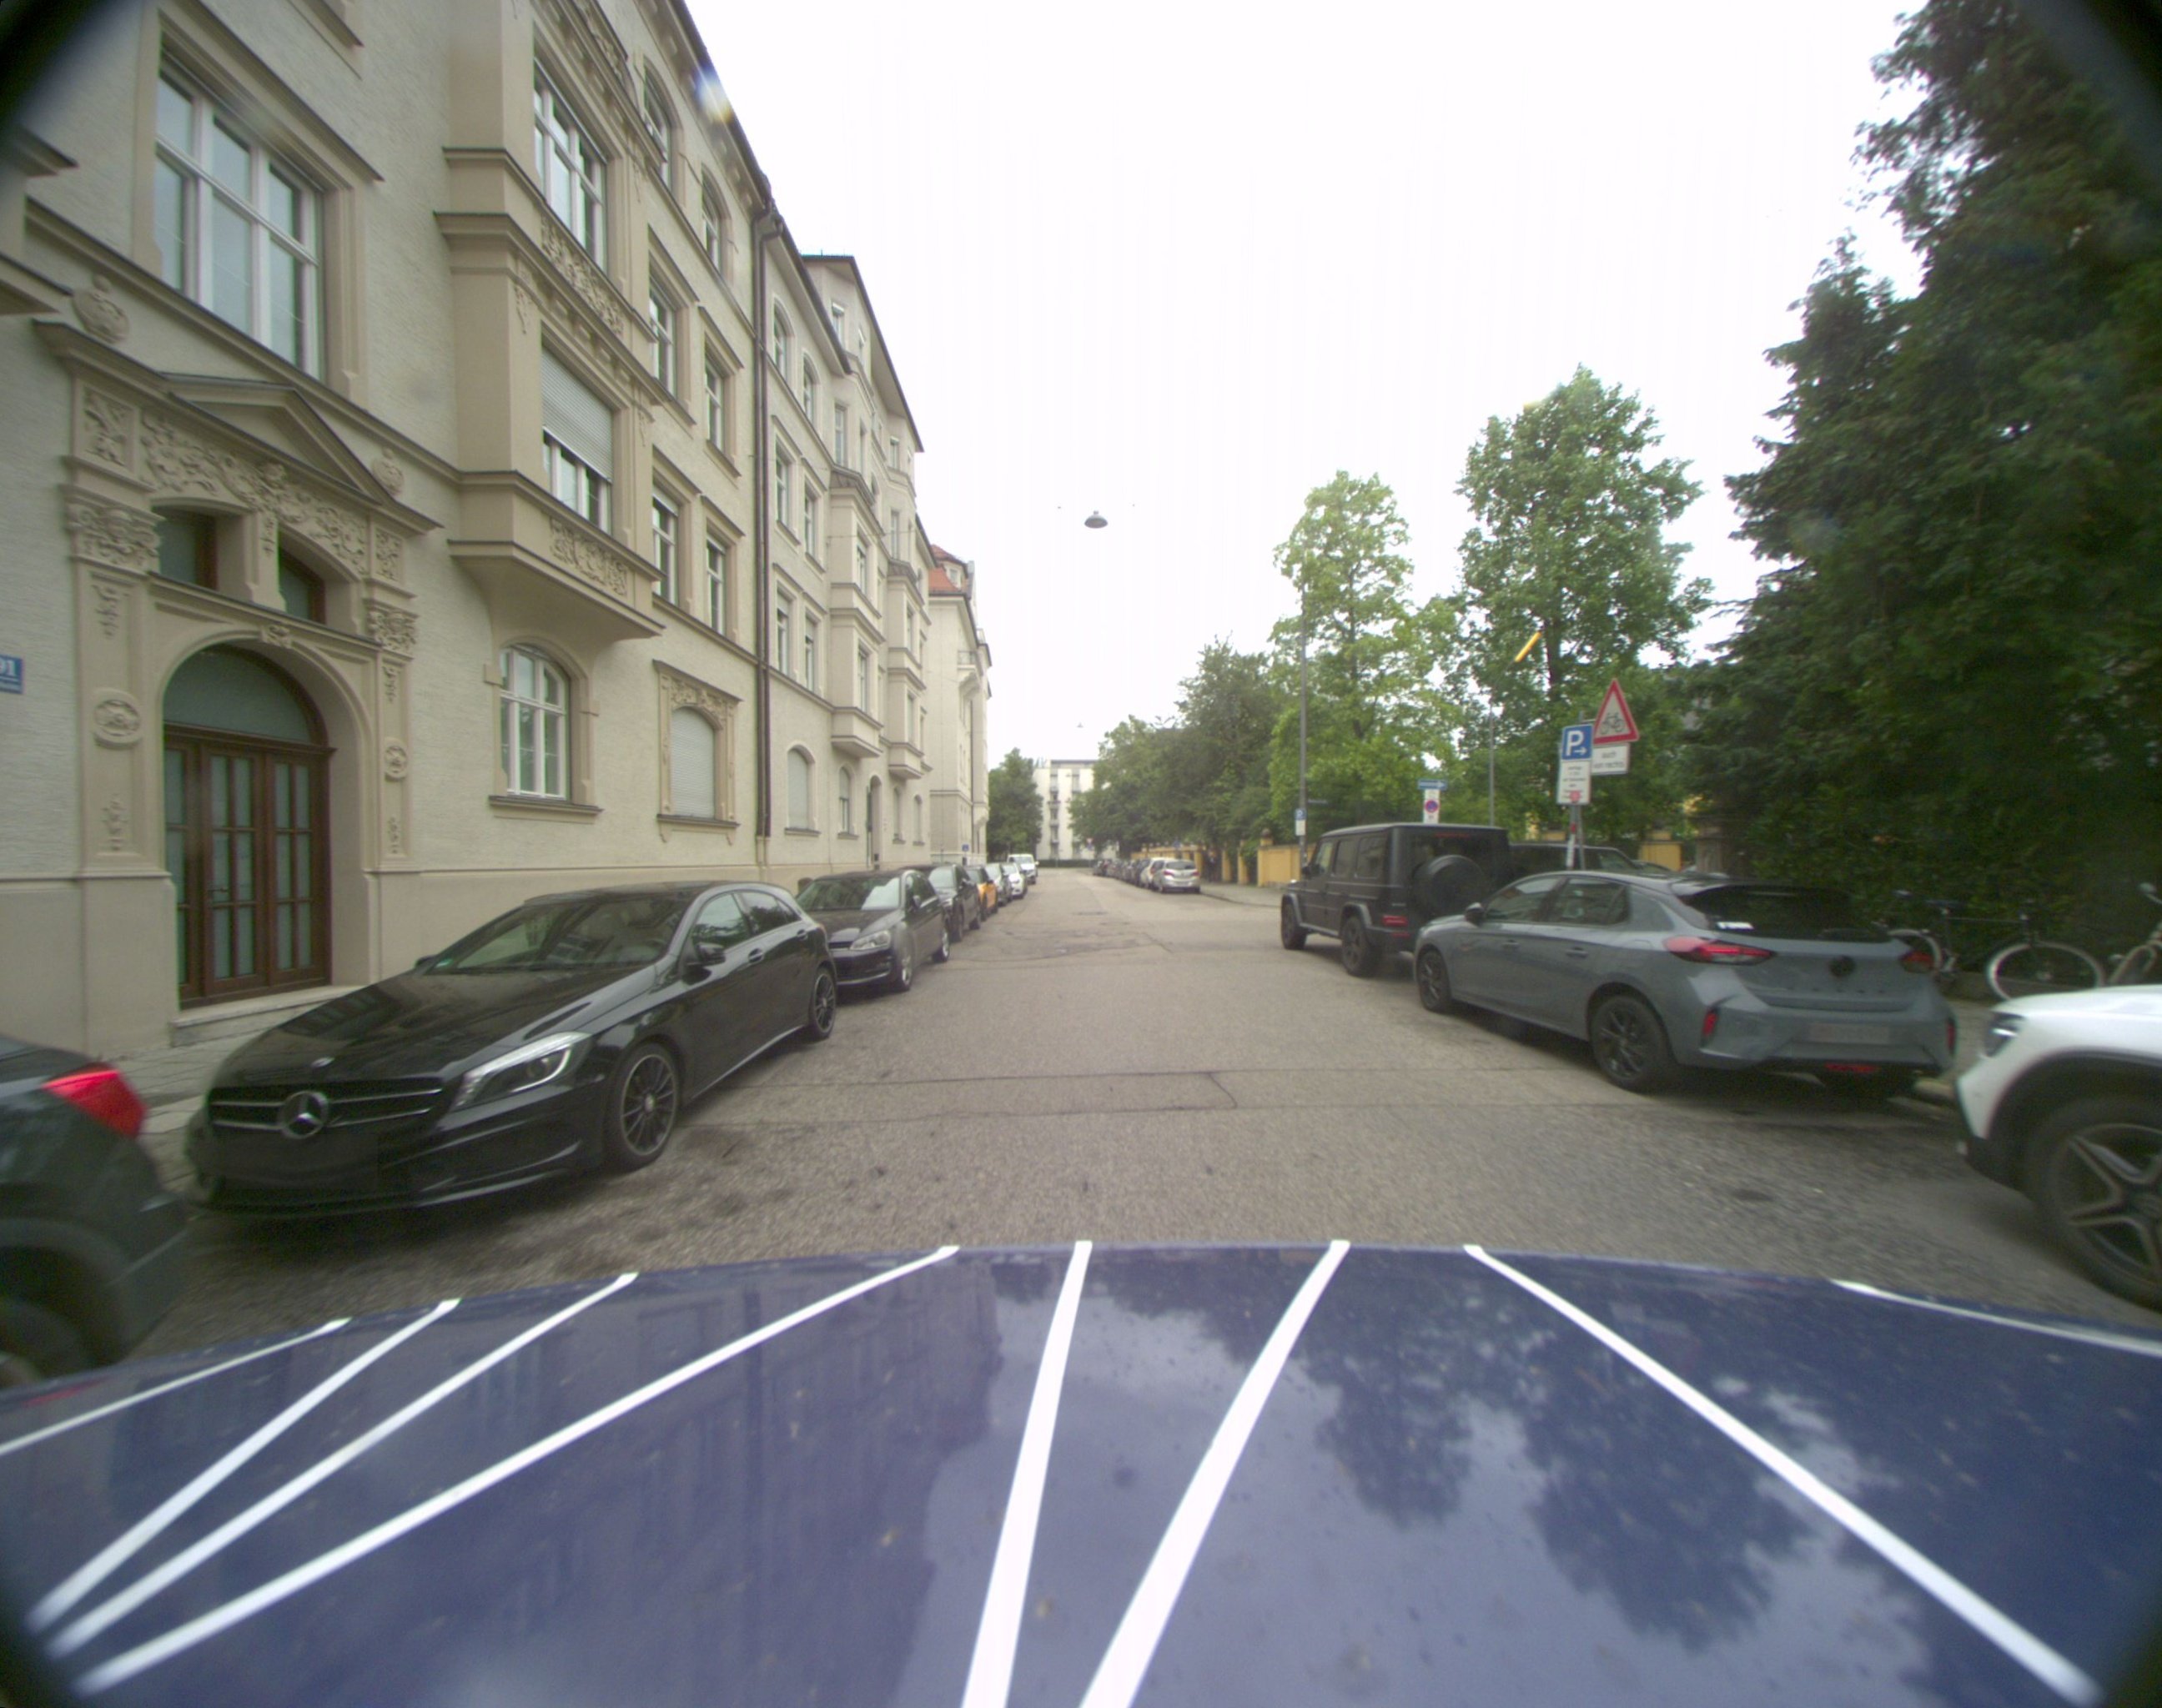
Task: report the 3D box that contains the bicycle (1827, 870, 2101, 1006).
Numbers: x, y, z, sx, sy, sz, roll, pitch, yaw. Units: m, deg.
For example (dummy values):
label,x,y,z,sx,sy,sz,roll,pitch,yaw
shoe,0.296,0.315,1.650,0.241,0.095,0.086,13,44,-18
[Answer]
label,x,y,z,sx,sy,sz,roll,pitch,yaw
bicycle,8.230,0.717,7.219,0.490,1.090,1.787,-1,0,-2

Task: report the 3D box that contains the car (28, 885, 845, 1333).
label,x,y,z,sx,sy,sz,roll,pitch,yaw
car,-3.090,1.070,4.926,1.746,1.390,4.021,-3,2,1

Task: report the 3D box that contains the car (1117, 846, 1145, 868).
label,x,y,z,sx,sy,sz,roll,pitch,yaw
car,3.573,0.199,54.780,1.653,1.552,3.929,1,1,-2

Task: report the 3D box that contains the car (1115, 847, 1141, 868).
label,x,y,z,sx,sy,sz,roll,pitch,yaw
car,3.596,0.235,59.226,1.653,1.552,3.929,1,1,-2

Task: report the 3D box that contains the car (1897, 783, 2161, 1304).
label,x,y,z,sx,sy,sz,roll,pitch,yaw
car,4.328,0.617,0.908,1.811,1.638,4.484,1,1,-1

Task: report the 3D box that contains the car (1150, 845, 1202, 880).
label,x,y,z,sx,sy,sz,roll,pitch,yaw
car,4.208,0.346,34.074,1.705,1.484,3.955,1,1,-2

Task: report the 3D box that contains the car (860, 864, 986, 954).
label,x,y,z,sx,sy,sz,roll,pitch,yaw
car,-3.108,1.029,15.754,1.747,1.507,3.957,-1,1,0

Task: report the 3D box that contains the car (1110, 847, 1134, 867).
label,x,y,z,sx,sy,sz,roll,pitch,yaw
car,3.430,0.235,63.472,1.653,1.552,3.929,1,1,-2

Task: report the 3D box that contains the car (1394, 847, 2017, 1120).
label,x,y,z,sx,sy,sz,roll,pitch,yaw
car,4.211,0.697,6.096,1.647,1.422,3.918,2,1,-1

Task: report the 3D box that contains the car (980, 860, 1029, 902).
label,x,y,z,sx,sy,sz,roll,pitch,yaw
car,-3.075,1.049,31.118,1.715,1.462,4.084,-2,1,-3

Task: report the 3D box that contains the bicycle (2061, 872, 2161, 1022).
label,x,y,z,sx,sy,sz,roll,pitch,yaw
bicycle,8.280,0.698,5.331,0.490,1.090,1.765,-1,0,-2

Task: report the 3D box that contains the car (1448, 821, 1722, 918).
label,x,y,z,sx,sy,sz,roll,pitch,yaw
car,10.368,0.274,15.834,4.520,1.847,2.053,0,1,-7

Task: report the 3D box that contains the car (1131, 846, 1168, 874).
label,x,y,z,sx,sy,sz,roll,pitch,yaw
car,3.878,0.314,43.782,1.653,1.552,3.929,1,1,-2

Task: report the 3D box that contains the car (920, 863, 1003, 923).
label,x,y,z,sx,sy,sz,roll,pitch,yaw
car,-3.187,1.014,20.948,1.661,1.432,3.597,0,1,1

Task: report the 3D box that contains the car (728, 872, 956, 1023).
label,x,y,z,sx,sy,sz,roll,pitch,yaw
car,-2.836,1.031,9.974,1.646,1.409,3.999,-2,1,1

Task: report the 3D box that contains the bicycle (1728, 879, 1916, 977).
label,x,y,z,sx,sy,sz,roll,pitch,yaw
bicycle,8.193,0.774,8.507,0.451,0.946,1.637,-1,-1,-2

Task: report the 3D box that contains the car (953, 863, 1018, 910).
label,x,y,z,sx,sy,sz,roll,pitch,yaw
car,-3.251,1.058,26.501,1.715,1.382,3.999,-2,1,0

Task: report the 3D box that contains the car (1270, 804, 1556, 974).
label,x,y,z,sx,sy,sz,roll,pitch,yaw
car,4.275,0.354,10.832,1.917,1.876,4.815,0,1,0

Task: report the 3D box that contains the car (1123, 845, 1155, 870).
label,x,y,z,sx,sy,sz,roll,pitch,yaw
car,3.715,0.190,49.240,1.653,1.552,3.929,1,1,-2

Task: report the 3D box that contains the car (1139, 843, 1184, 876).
label,x,y,z,sx,sy,sz,roll,pitch,yaw
car,4.072,0.264,38.901,1.705,1.552,3.929,-1,1,-2

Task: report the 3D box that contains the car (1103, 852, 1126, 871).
label,x,y,z,sx,sy,sz,roll,pitch,yaw
car,2.937,0.653,67.422,1.653,1.552,3.929,1,1,-2

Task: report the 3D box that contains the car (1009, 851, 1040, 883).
label,x,y,z,sx,sy,sz,roll,pitch,yaw
car,-3.627,0.778,49.400,1.794,1.926,4.084,-2,1,-3

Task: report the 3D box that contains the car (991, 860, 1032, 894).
label,x,y,z,sx,sy,sz,roll,pitch,yaw
car,-3.260,1.053,36.130,1.715,1.382,4.084,-2,1,-3
